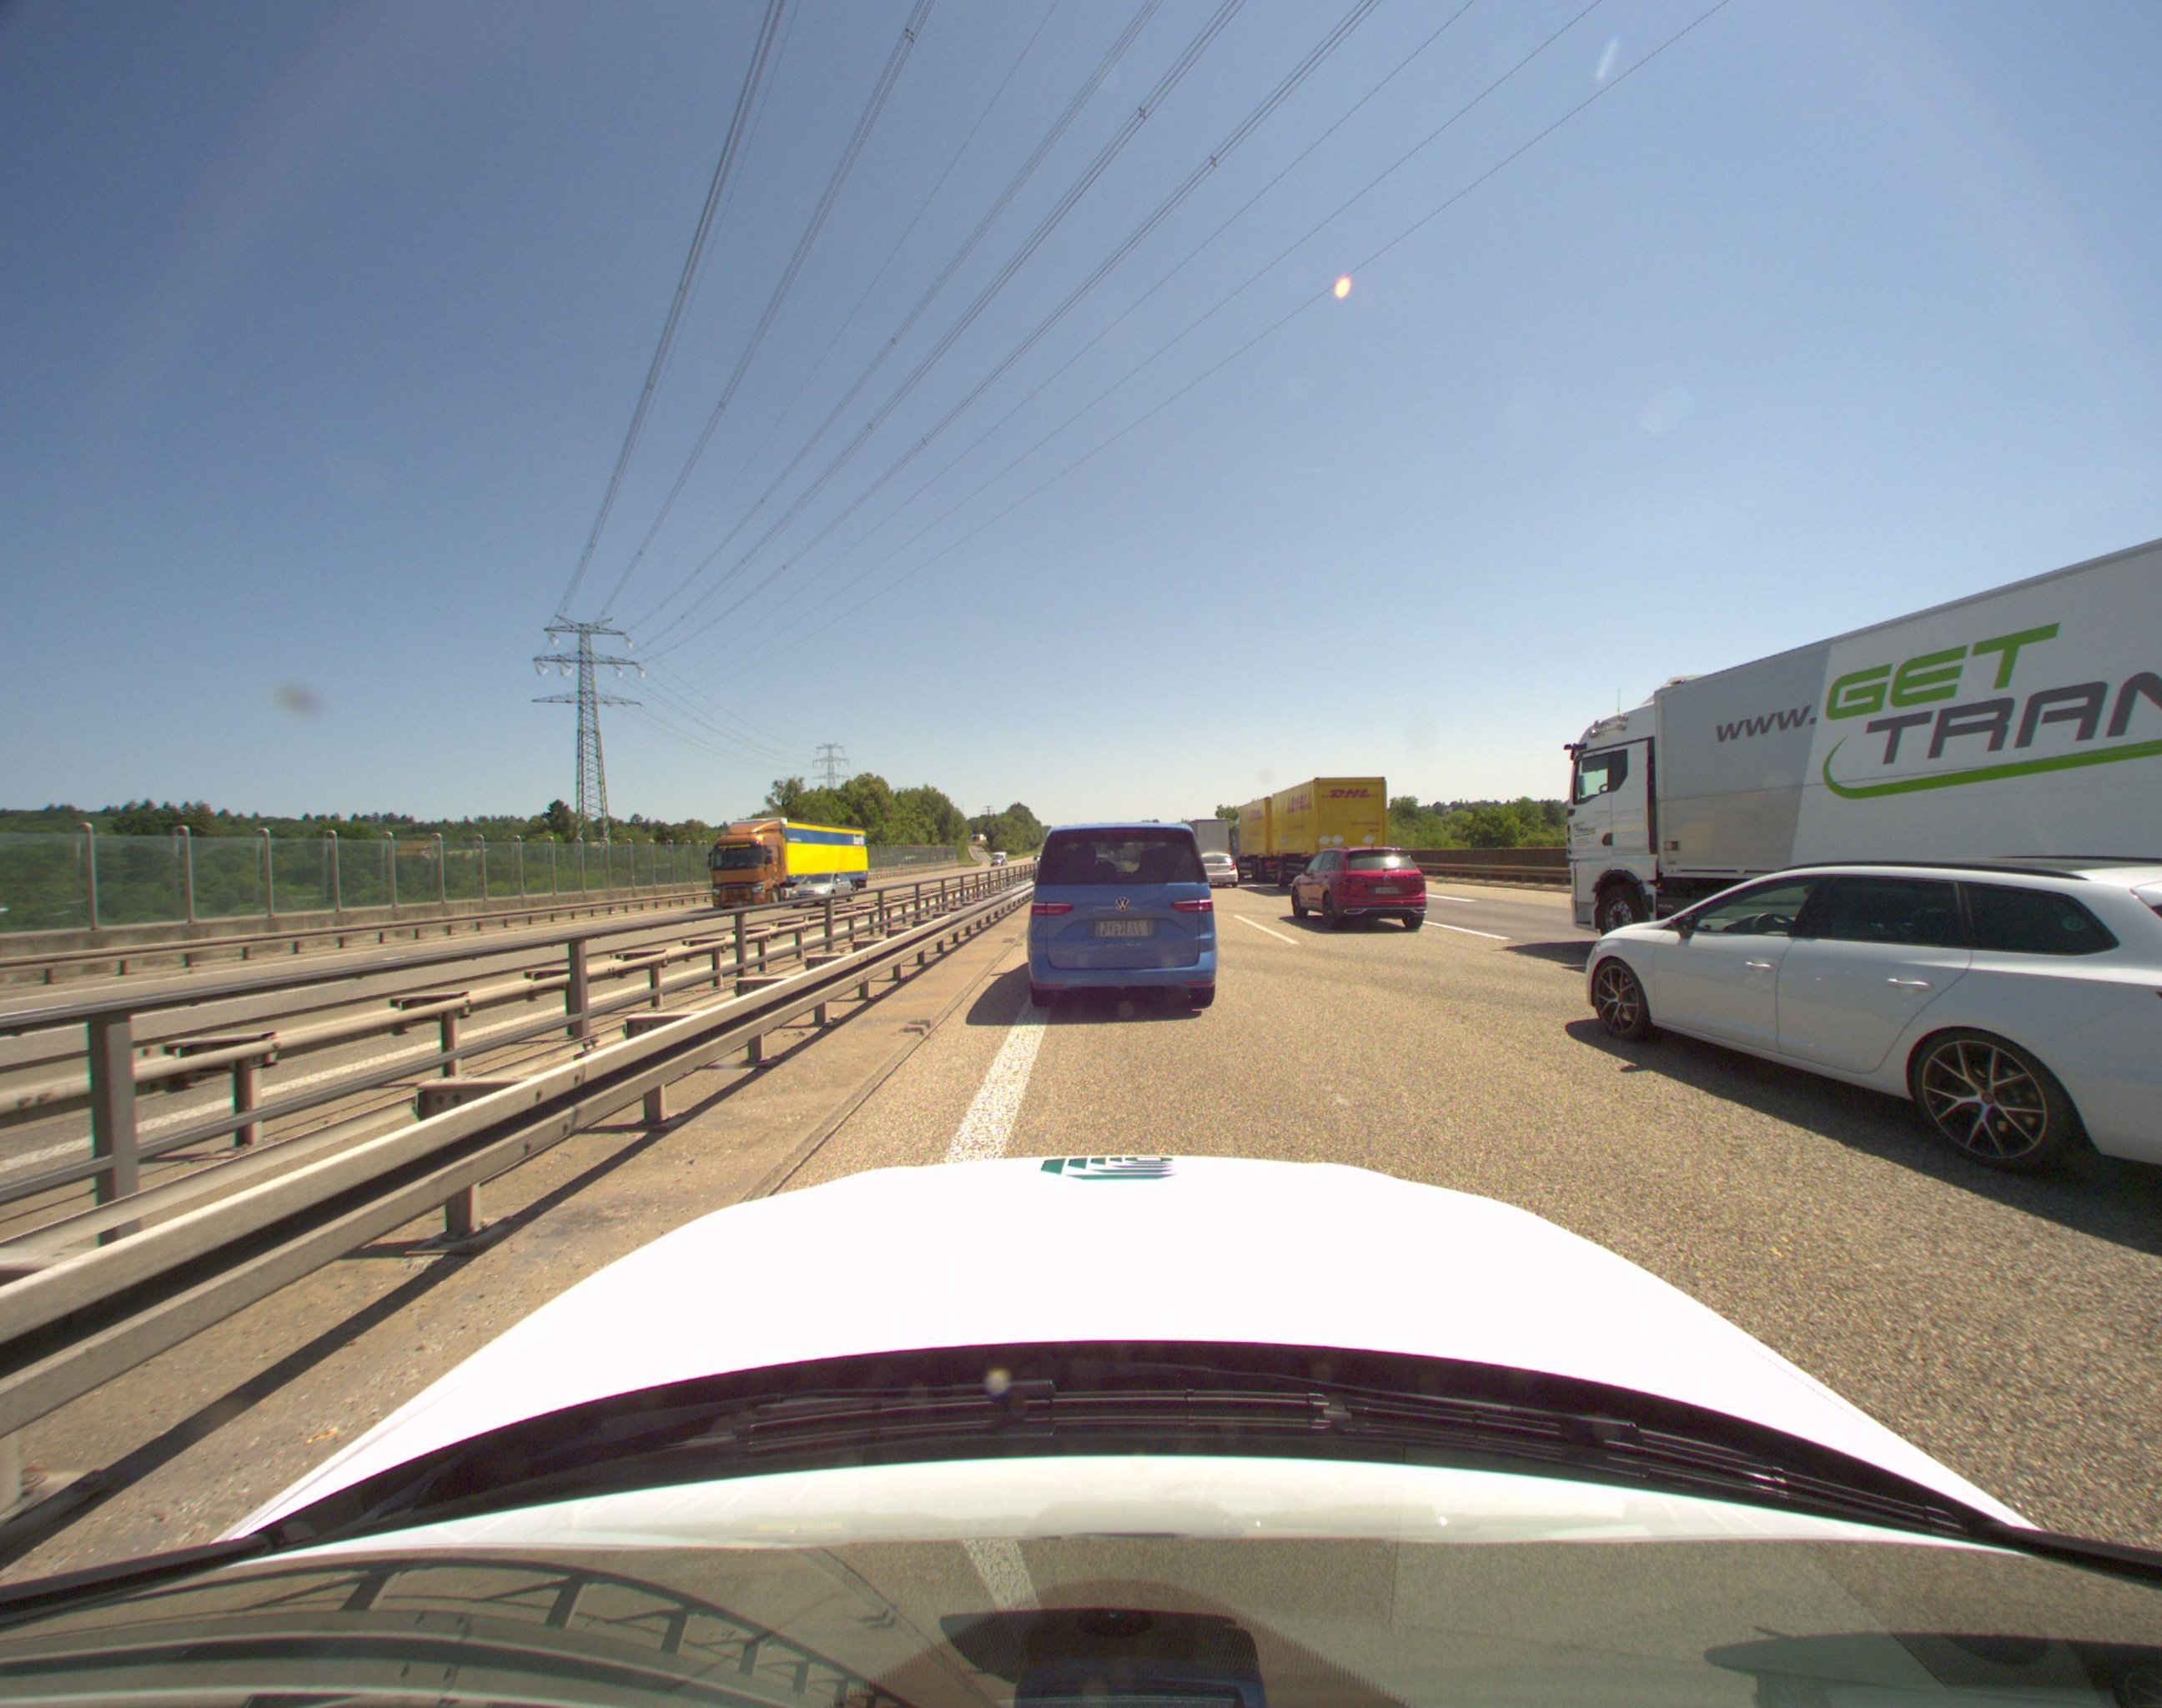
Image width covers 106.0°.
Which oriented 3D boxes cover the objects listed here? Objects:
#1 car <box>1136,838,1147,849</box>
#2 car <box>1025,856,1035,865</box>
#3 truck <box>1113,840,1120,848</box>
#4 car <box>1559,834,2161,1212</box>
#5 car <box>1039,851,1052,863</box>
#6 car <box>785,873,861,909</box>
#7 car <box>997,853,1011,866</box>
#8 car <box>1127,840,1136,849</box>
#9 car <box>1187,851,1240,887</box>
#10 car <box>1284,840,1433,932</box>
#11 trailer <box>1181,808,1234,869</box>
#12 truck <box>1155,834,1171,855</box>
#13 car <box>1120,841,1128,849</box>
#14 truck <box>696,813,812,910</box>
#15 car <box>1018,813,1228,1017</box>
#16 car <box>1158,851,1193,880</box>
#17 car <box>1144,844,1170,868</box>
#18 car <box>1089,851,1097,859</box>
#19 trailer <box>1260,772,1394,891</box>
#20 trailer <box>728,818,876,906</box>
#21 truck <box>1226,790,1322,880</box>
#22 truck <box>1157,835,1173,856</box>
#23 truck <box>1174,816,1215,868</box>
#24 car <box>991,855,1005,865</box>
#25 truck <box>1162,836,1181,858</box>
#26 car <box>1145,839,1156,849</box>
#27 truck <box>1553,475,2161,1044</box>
[{"bbox_3d":[11.832,-2.118,159.214,1.986,2.014,4.001,-1,-1,2],"label":"car"},{"bbox_3d":[-11.264,1.508,181.280,1.835,2.042,3.945,-1,-1,2],"label":"car"},{"bbox_3d":[11.279,-3.237,259.515,1.986,2.585,4.554,-1,-1,2],"label":"truck"},{"bbox_3d":[5.030,0.630,4.959,1.702,1.451,4.430,-1,0,1],"label":"car"},{"bbox_3d":[-5.701,0.490,131.195,1.835,1.751,3.945,-1,-1,2],"label":"car"},{"bbox_3d":[-11.172,1.568,35.560,1.681,1.303,4.017,-4,-1,5],"label":"car"},{"bbox_3d":[-13.094,0.927,138.770,1.835,2.042,3.945,-1,-1,2],"label":"car"},{"bbox_3d":[11.028,-2.037,178.024,1.986,2.014,4.001,-1,-1,2],"label":"car"},{"bbox_3d":[5.785,0.652,35.942,1.808,1.470,3.933,-1,-1,1],"label":"car"},{"bbox_3d":[5.663,0.584,17.217,1.703,1.679,4.285,-1,0,0],"label":"car"},{"bbox_3d":[10.276,-1.112,67.317,3.015,4.611,10.929,-1,-1,2],"label":"trailer"},{"bbox_3d":[10.842,-1.235,108.028,1.790,2.596,4.307,-1,-1,2],"label":"truck"},{"bbox_3d":[11.987,-2.455,227.155,1.986,2.014,4.001,-1,-1,2],"label":"car"},{"bbox_3d":[-15.491,0.350,39.153,2.661,4.185,6.291,-2,-1,3],"label":"truck"},{"bbox_3d":[0.442,0.581,9.572,1.923,1.874,4.001,-1,-1,1],"label":"car"},{"bbox_3d":[5.642,0.665,49.067,1.808,1.679,3.934,-1,-1,2],"label":"car"},{"bbox_3d":[6.460,0.193,69.797,1.955,1.936,3.933,-1,-1,1],"label":"car"},{"bbox_3d":[2.992,0.209,210.626,1.986,2.014,4.001,-1,-1,2],"label":"car"},{"bbox_3d":[9.519,-0.748,32.722,2.674,4.088,8.979,-1,-1,0],"label":"trailer"},{"bbox_3d":[-15.093,0.445,45.844,2.617,4.114,14.027,-2,-1,3],"label":"trailer"},{"bbox_3d":[9.711,-0.825,42.237,2.690,4.088,9.939,-1,-1,1],"label":"truck"},{"bbox_3d":[10.643,-1.067,103.084,1.735,2.549,4.211,-1,-1,2],"label":"truck"},{"bbox_3d":[10.617,-1.055,76.764,3.015,4.611,7.924,-1,-1,2],"label":"truck"},{"bbox_3d":[-13.593,0.992,133.811,1.835,1.751,3.945,-1,-1,2],"label":"car"},{"bbox_3d":[10.429,-0.766,94.238,1.791,2.449,4.506,-1,-1,2],"label":"truck"},{"bbox_3d":[11.942,-1.703,140.587,1.591,1.751,3.945,-1,-1,2],"label":"car"},{"bbox_3d":[8.956,-0.644,7.836,2.841,3.934,10.611,-1,-1,1],"label":"truck"}]
